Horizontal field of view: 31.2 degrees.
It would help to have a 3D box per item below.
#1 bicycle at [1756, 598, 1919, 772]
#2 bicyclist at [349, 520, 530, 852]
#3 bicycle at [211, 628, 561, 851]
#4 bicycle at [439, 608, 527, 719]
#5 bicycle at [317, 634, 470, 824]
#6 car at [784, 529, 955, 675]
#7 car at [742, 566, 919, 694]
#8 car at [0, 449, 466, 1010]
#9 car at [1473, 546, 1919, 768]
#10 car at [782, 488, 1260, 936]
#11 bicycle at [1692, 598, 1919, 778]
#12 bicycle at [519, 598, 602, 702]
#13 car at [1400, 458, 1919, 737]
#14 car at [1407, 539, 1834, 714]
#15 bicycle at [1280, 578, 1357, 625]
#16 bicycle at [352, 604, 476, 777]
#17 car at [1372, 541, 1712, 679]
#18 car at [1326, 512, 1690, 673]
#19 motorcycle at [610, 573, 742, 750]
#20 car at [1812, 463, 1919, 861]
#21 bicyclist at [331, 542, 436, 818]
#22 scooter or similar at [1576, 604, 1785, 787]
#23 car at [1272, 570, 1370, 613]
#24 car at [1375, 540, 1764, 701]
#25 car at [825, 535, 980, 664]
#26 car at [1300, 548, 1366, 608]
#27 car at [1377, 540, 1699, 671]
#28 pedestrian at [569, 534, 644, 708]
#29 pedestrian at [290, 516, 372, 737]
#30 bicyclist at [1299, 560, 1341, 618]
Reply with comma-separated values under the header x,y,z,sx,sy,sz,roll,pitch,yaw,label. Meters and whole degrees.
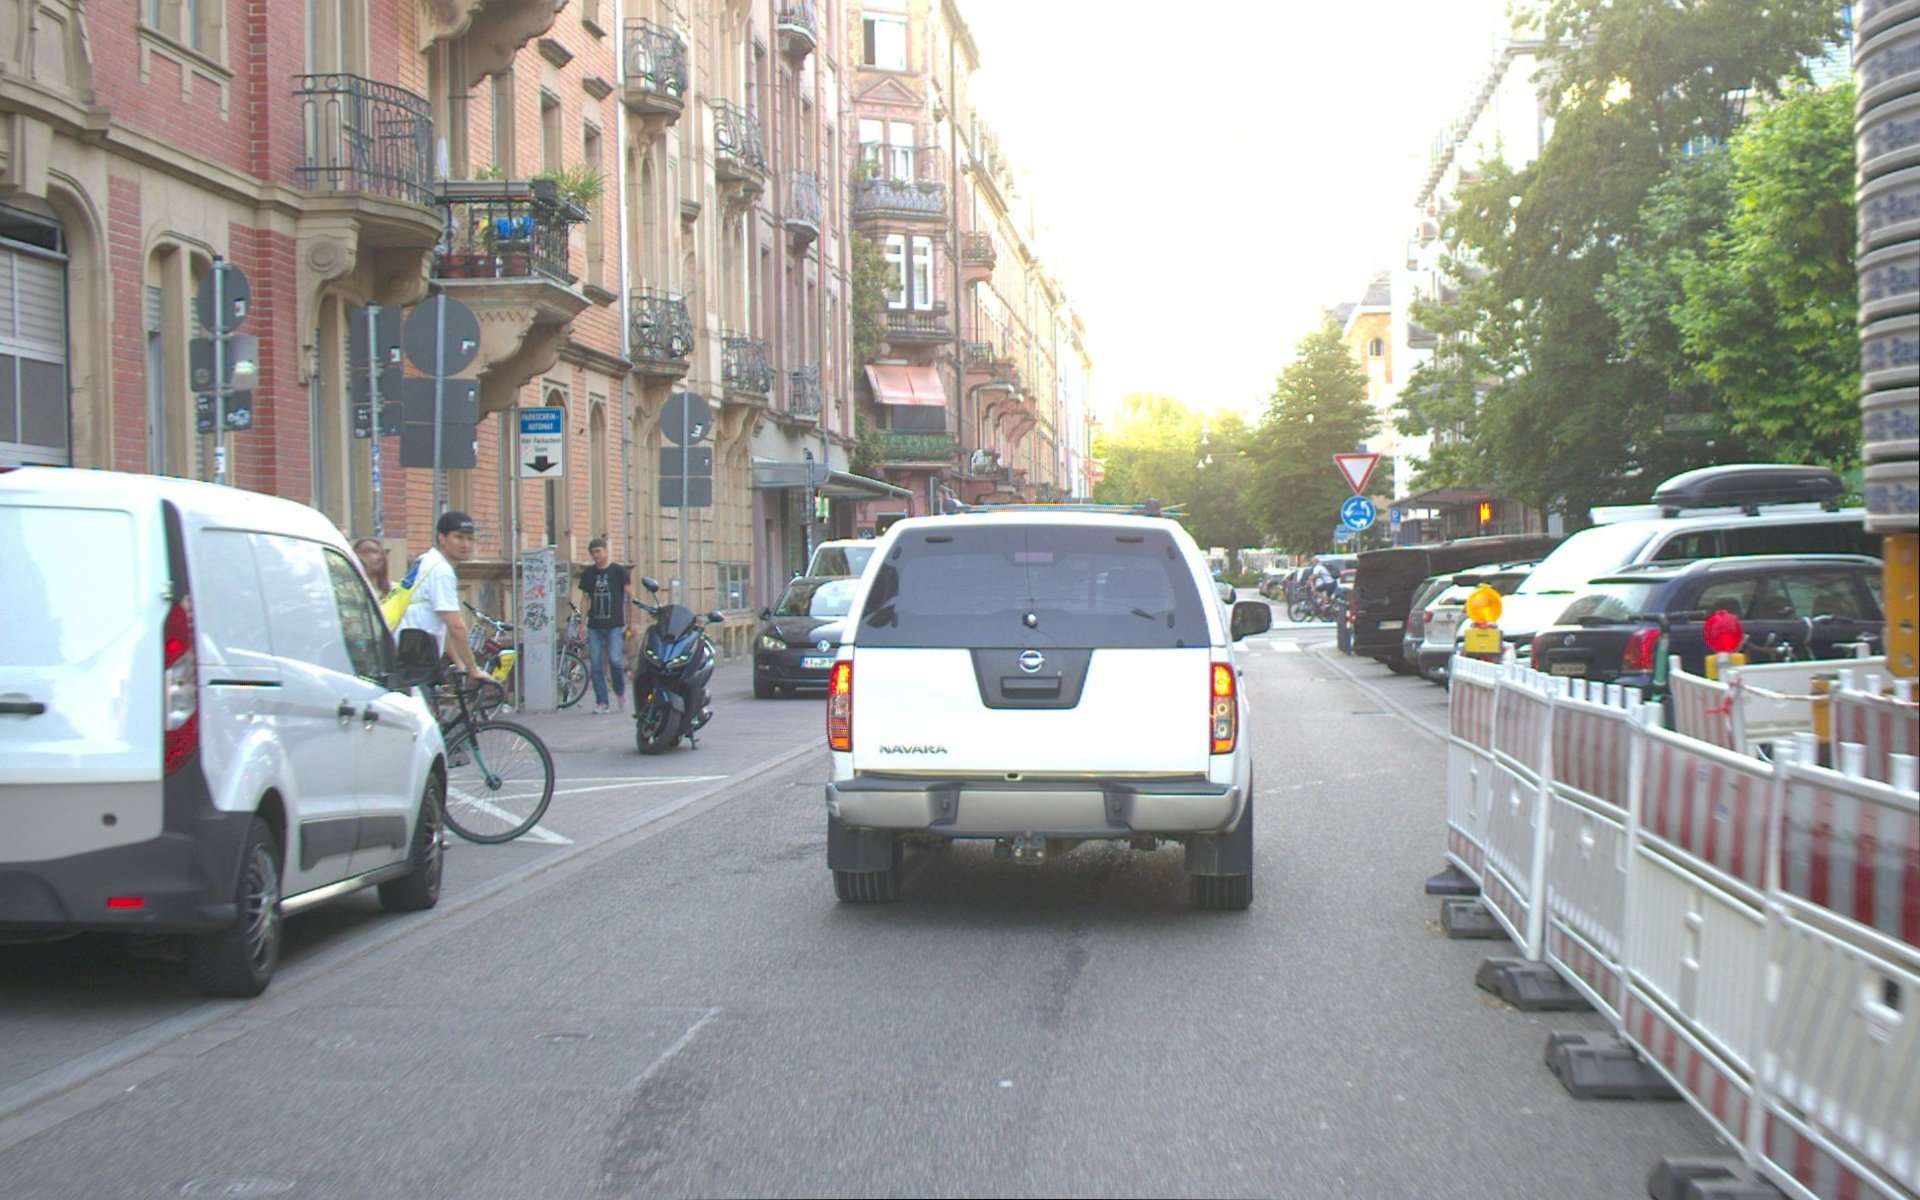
x,y,z,sx,sy,sz,roll,pitch,yaw,label
6.278,0.564,23.478,0.495,1.132,1.814,-3,2,-30,bicycle
-2.719,0.440,17.990,0.787,1.698,0.529,1,0,11,bicyclist
-3.064,0.735,18.351,1.776,1.151,0.521,1,0,-17,bicycle
-4.556,0.594,32.906,0.448,1.026,1.740,1,0,5,bicycle
-3.337,0.740,20.355,0.466,1.064,1.520,1,0,7,bicycle
-1.195,0.013,47.653,1.837,1.915,4.844,0,0,5,car
-1.523,0.336,41.874,1.837,1.466,4.172,0,0,2,car
-3.215,0.411,13.281,1.770,1.783,4.587,0,0,2,car
6.043,0.380,25.929,3.854,1.511,1.848,-2,1,-22,car
0.451,0.455,16.542,1.938,1.804,5.000,1,0,5,car
5.733,0.568,23.161,0.495,1.132,1.814,-3,2,-27,bicycle
-4.363,0.536,37.672,0.749,1.097,2.025,1,0,-2,bicycle
6.709,-0.069,31.445,4.921,2.354,2.000,-2,1,-22,car
7.112,0.252,36.971,4.153,1.585,1.886,-4,2,-26,car
9.087,0.027,87.110,1.934,1.167,0.595,1,0,40,bicycle
-3.796,0.608,24.014,0.412,1.156,1.837,1,0,5,bicycle
7.703,0.122,45.464,4.095,1.546,1.819,-4,1,-27,car
8.244,-0.137,51.455,5.420,2.065,1.933,-4,1,-34,car
-2.318,0.487,28.292,0.685,1.400,2.014,1,0,7,motorcycle
7.219,0.152,17.661,5.173,1.949,1.899,-3,1,4,car
-3.362,0.461,20.066,0.466,1.585,0.487,1,0,7,bicyclist
4.833,0.621,23.136,0.654,1.146,1.485,-3,1,-20,scooter or similar
15.126,-0.356,144.272,3.987,1.744,1.840,1,0,3,car
7.082,0.219,39.902,4.095,1.585,1.819,-4,1,-26,car
-0.841,-0.026,53.794,2.109,1.915,5.025,0,0,3,car
12.259,-0.717,113.069,1.943,1.927,3.999,1,0,3,car
8.095,0.065,48.121,4.095,1.546,1.819,-4,1,-27,car
-3.727,0.218,36.301,0.682,1.804,0.961,1,0,-1,pedestrian
-5.142,0.212,28.135,0.463,1.783,0.641,1,0,8,pedestrian
9.116,-0.290,87.096,0.873,1.461,0.575,1,0,40,bicyclist
